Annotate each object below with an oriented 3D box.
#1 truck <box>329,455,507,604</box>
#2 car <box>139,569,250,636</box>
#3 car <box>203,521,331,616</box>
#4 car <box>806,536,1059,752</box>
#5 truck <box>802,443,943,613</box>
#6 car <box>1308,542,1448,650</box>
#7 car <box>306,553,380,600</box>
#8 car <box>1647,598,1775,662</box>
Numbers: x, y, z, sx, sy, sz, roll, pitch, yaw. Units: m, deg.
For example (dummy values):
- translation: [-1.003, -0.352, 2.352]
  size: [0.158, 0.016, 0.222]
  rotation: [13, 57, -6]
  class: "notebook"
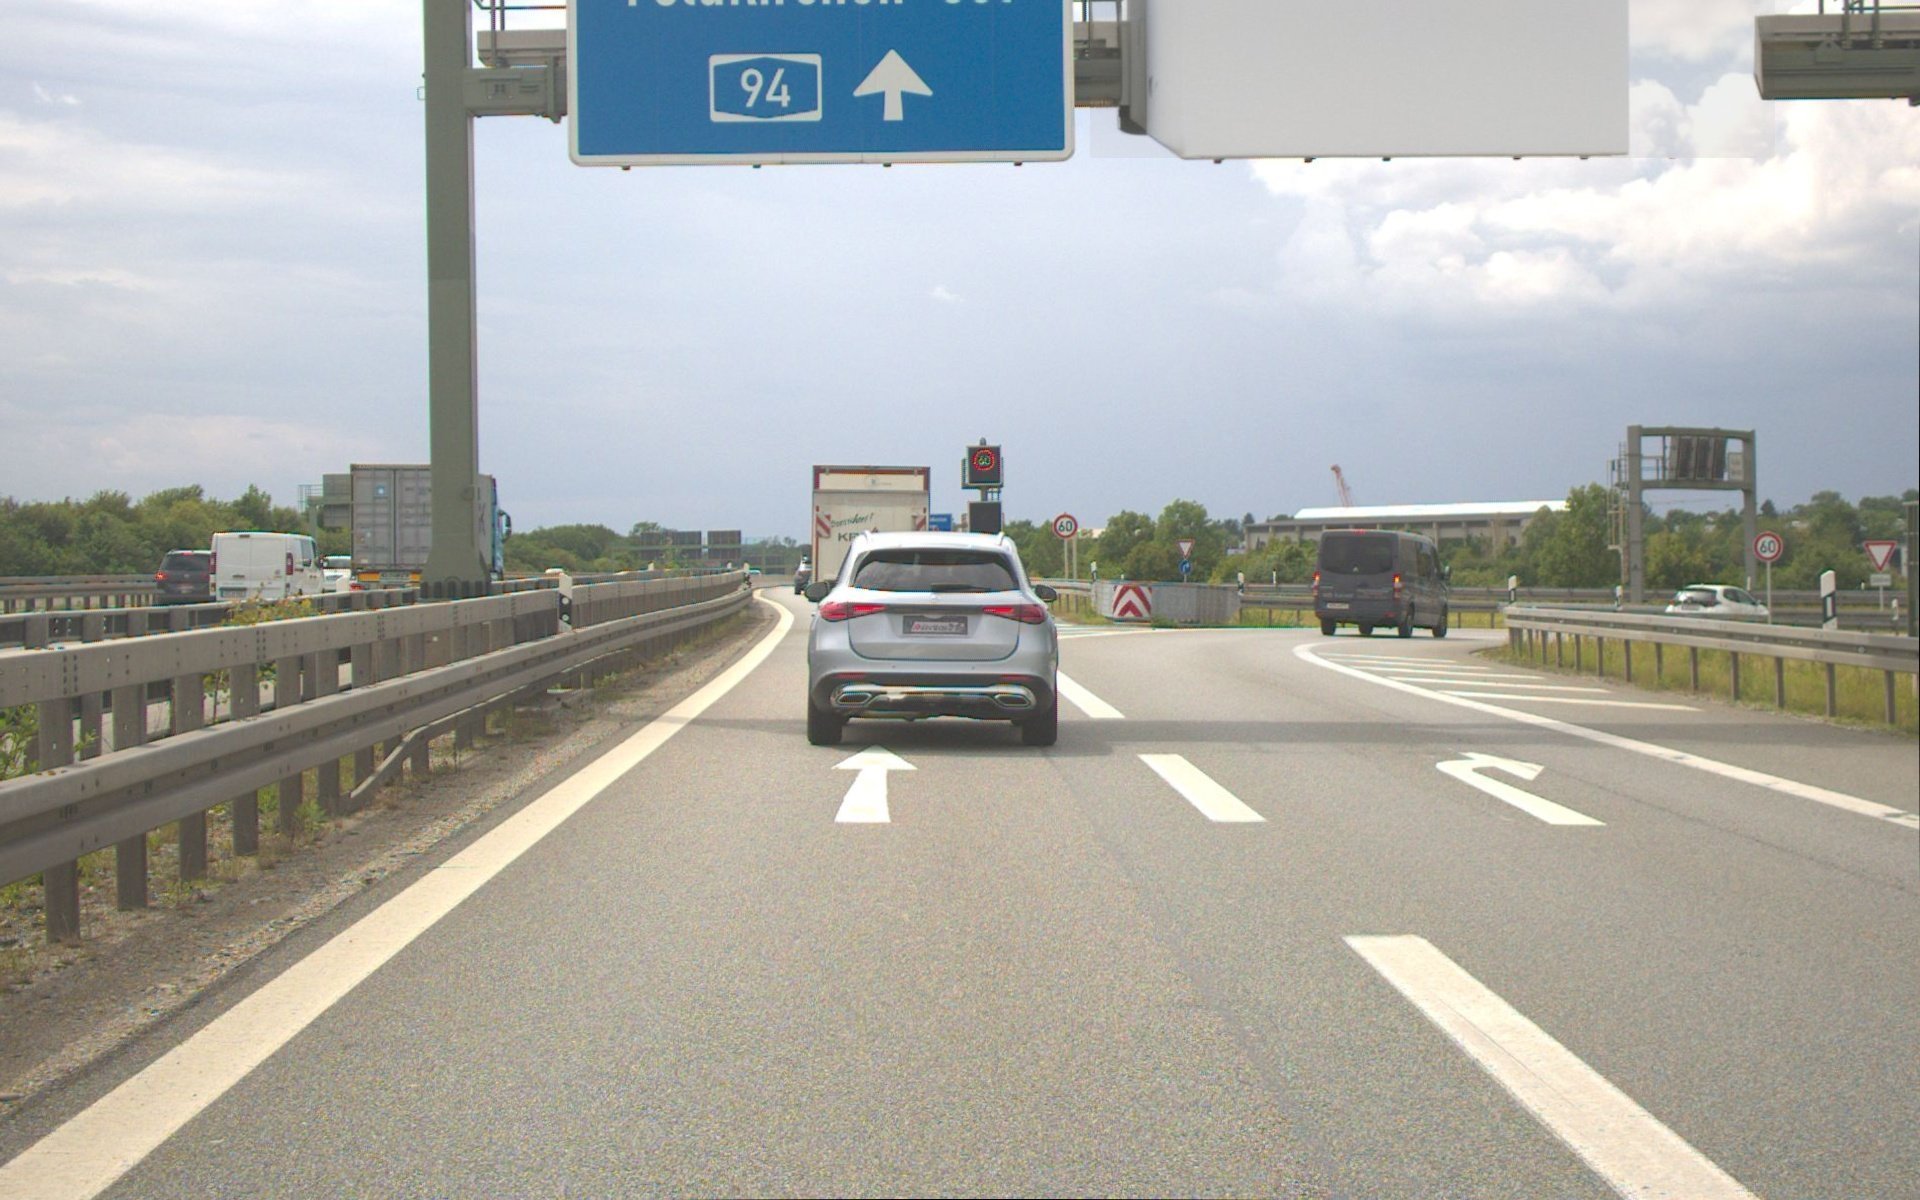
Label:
- translation: [-15.793, -2.129, 101.534]
  size: [3.183, 4.005, 16.077]
  rotation: [1, 2, -2]
  class: "truck"
- translation: [-19.518, 0.041, 87.824]
  size: [1.881, 1.541, 4.615]
  rotation: [1, 2, -1]
  class: "car"
- translation: [-15.392, -0.729, 76.512]
  size: [1.993, 2.007, 4.375]
  rotation: [1, 2, -1]
  class: "car"
- translation: [-0.222, 0.285, 27.034]
  size: [1.819, 1.509, 4.000]
  rotation: [1, 2, -1]
  class: "car"
- translation: [-1.681, -1.354, 68.158]
  size: [2.569, 3.115, 8.635]
  rotation: [1, 0, -1]
  class: "truck"
- translation: [9.283, -0.121, 76.025]
  size: [1.909, 2.254, 4.644]
  rotation: [1, 2, 22]
  class: "car"
- translation: [-19.961, -0.785, 111.327]
  size: [1.797, 1.415, 4.001]
  rotation: [1, 2, -2]
  class: "car"
- translation: [21.781, 0.845, 99.612]
  size: [1.998, 1.703, 3.991]
  rotation: [2, 2, 39]
  class: "car"
